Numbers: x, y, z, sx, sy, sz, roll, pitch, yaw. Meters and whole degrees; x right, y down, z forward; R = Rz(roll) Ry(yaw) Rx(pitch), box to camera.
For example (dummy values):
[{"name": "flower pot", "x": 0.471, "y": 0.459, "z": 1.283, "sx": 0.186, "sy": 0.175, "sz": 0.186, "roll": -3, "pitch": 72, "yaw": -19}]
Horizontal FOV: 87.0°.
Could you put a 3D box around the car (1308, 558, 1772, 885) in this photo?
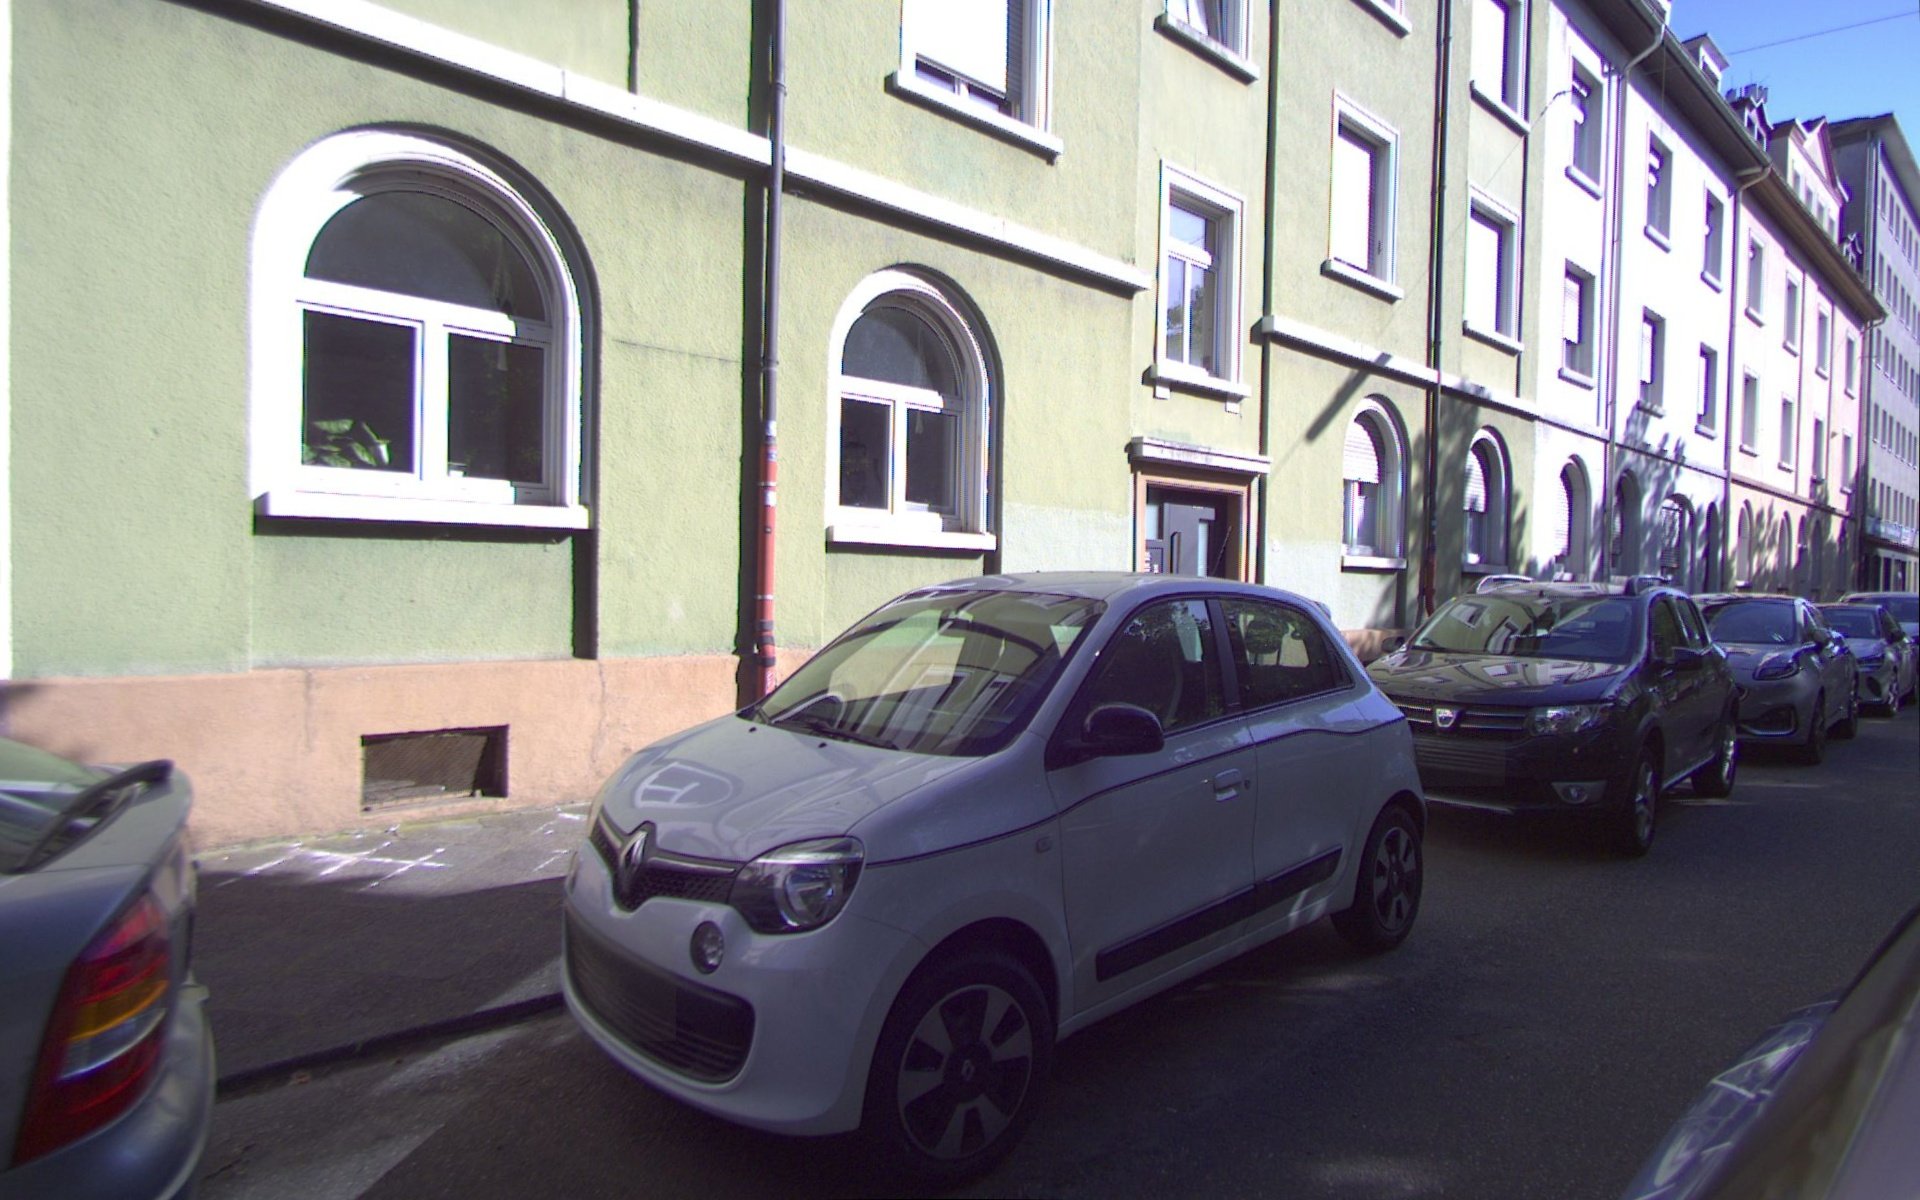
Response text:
[{"name": "car", "x": 4.227, "y": 0.566, "z": 7.058, "sx": 4.089, "sy": 1.616, "sz": 1.724, "roll": 0, "pitch": 2, "yaw": -44}]

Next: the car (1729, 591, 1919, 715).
[{"name": "car", "x": 12.279, "y": 0.617, "z": 14.066, "sx": 4.085, "sy": 1.450, "sz": 1.725, "roll": 0, "pitch": 2, "yaw": -41}]

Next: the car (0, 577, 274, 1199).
[{"name": "car", "x": -3.040, "y": 0.689, "z": 0.750, "sx": 4.019, "sy": 1.430, "sz": 1.633, "roll": 0, "pitch": 2, "yaw": -42}]

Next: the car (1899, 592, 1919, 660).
[{"name": "car", "x": 21.601, "y": 0.538, "z": 22.015, "sx": 3.798, "sy": 1.411, "sz": 1.550, "roll": 0, "pitch": 2, "yaw": -45}]

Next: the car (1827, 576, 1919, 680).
[{"name": "car", "x": 17.073, "y": 0.446, "z": 18.258, "sx": 4.088, "sy": 1.707, "sz": 1.724, "roll": 0, "pitch": 2, "yaw": -43}]

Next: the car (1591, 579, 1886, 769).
[{"name": "car", "x": 8.078, "y": 0.587, "z": 10.356, "sx": 4.088, "sy": 1.547, "sz": 1.725, "roll": 0, "pitch": 2, "yaw": -43}]

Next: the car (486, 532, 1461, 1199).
[{"name": "car", "x": 0.327, "y": 0.609, "z": 3.832, "sx": 3.531, "sy": 1.553, "sz": 1.633, "roll": 0, "pitch": 2, "yaw": -42}]
